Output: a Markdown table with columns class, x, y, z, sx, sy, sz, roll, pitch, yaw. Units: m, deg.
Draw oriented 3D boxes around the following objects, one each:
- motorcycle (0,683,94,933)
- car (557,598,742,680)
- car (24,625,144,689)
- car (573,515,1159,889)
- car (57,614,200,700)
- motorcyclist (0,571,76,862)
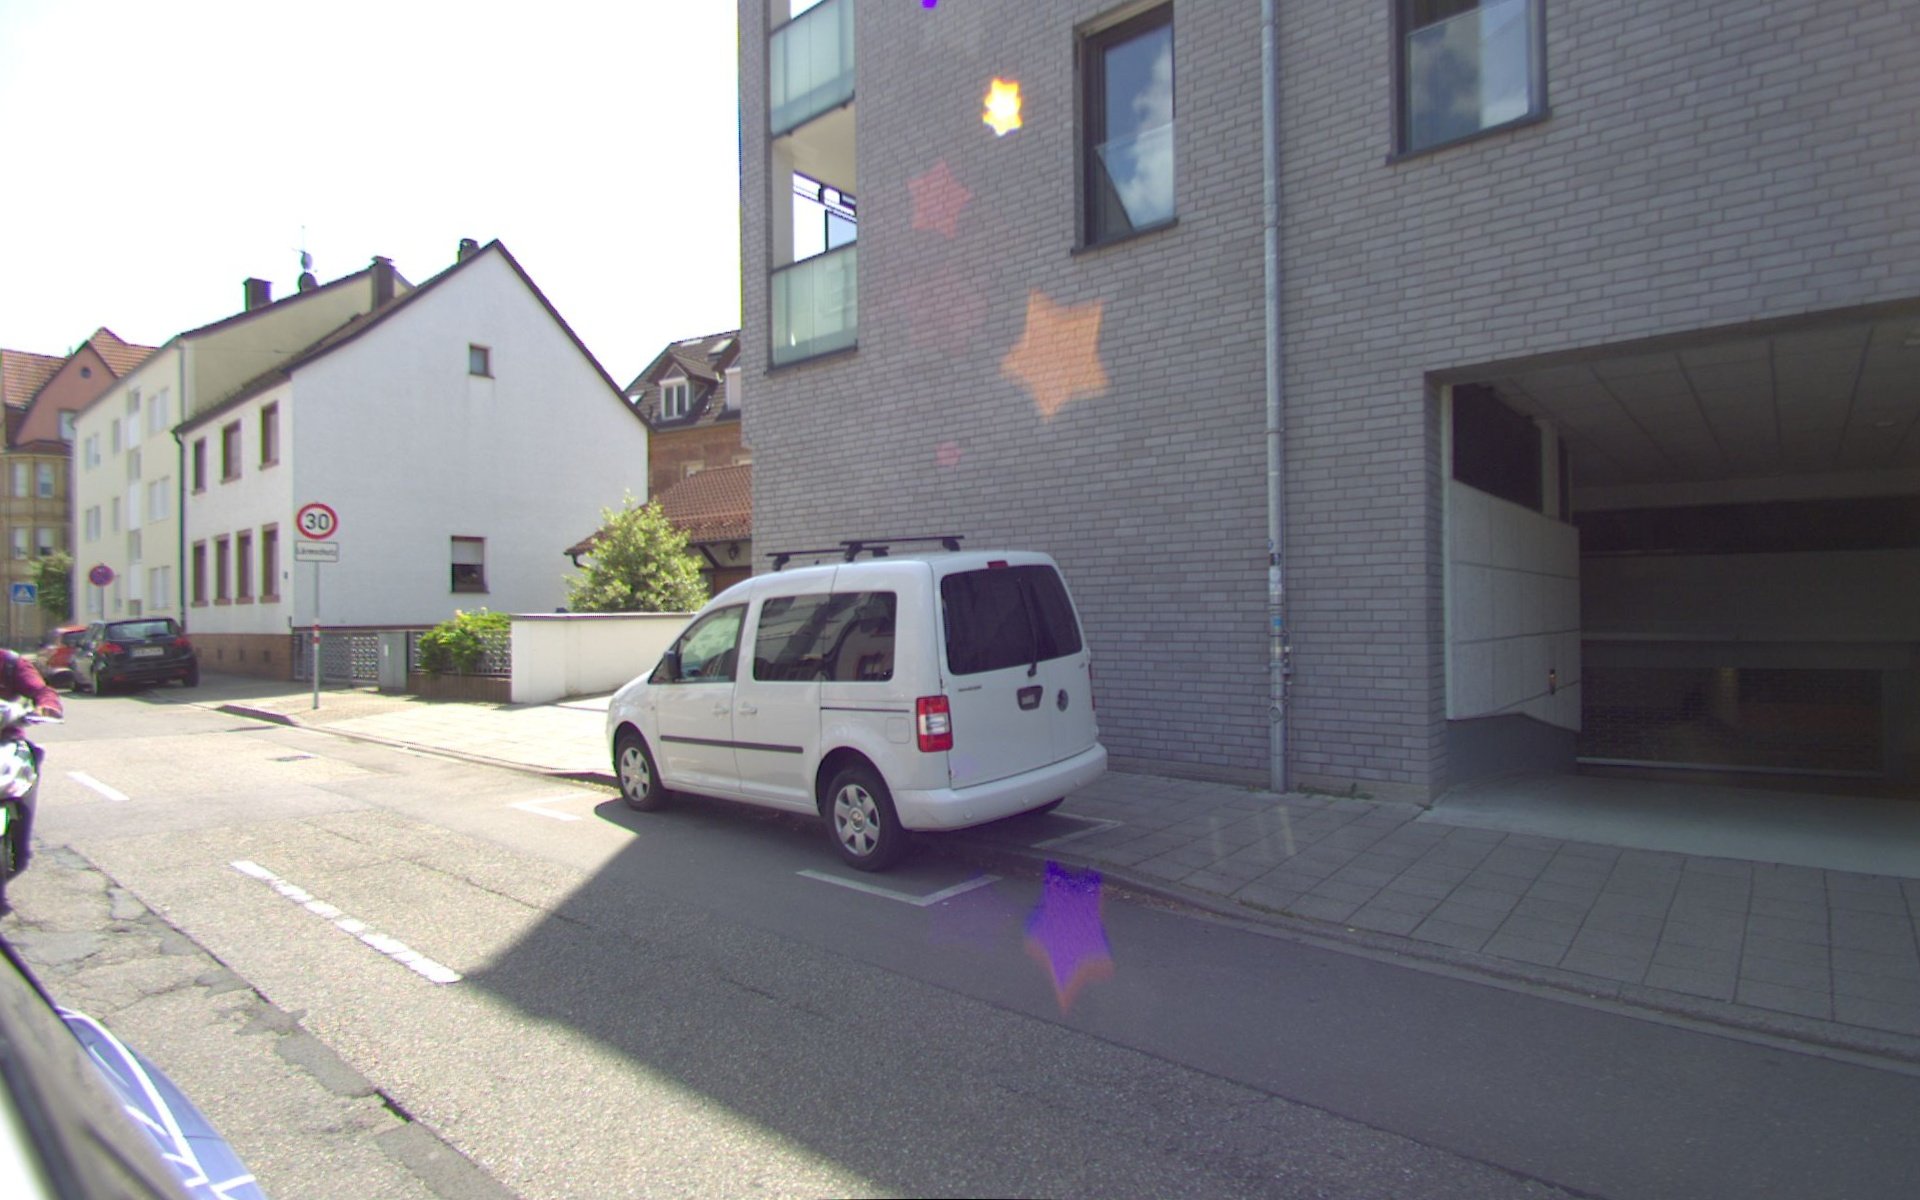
| class | x | y | z | sx | sy | sz | roll | pitch | yaw |
| --- | --- | --- | --- | --- | --- | --- | --- | --- | --- |
| motorcycle | -5.170 | 1.015 | 5.238 | 1.990 | 1.063 | 0.750 | -2 | -1 | 41 |
| car | -6.573 | 0.798 | 21.709 | 3.508 | 1.551 | 1.641 | -2 | 1 | -7 |
| car | -22.096 | 1.364 | 25.468 | 4.289 | 1.427 | 1.814 | -1 | -1 | 43 |
| car | -0.927 | 0.530 | 7.292 | 4.337 | 1.906 | 1.738 | -2 | 1 | 44 |
| car | -18.304 | 1.186 | 22.215 | 3.943 | 1.659 | 1.776 | -1 | 0 | 41 |
| motorcyclist | -5.247 | 0.596 | 5.294 | 1.020 | 1.451 | 0.783 | -2 | -1 | 41 |
